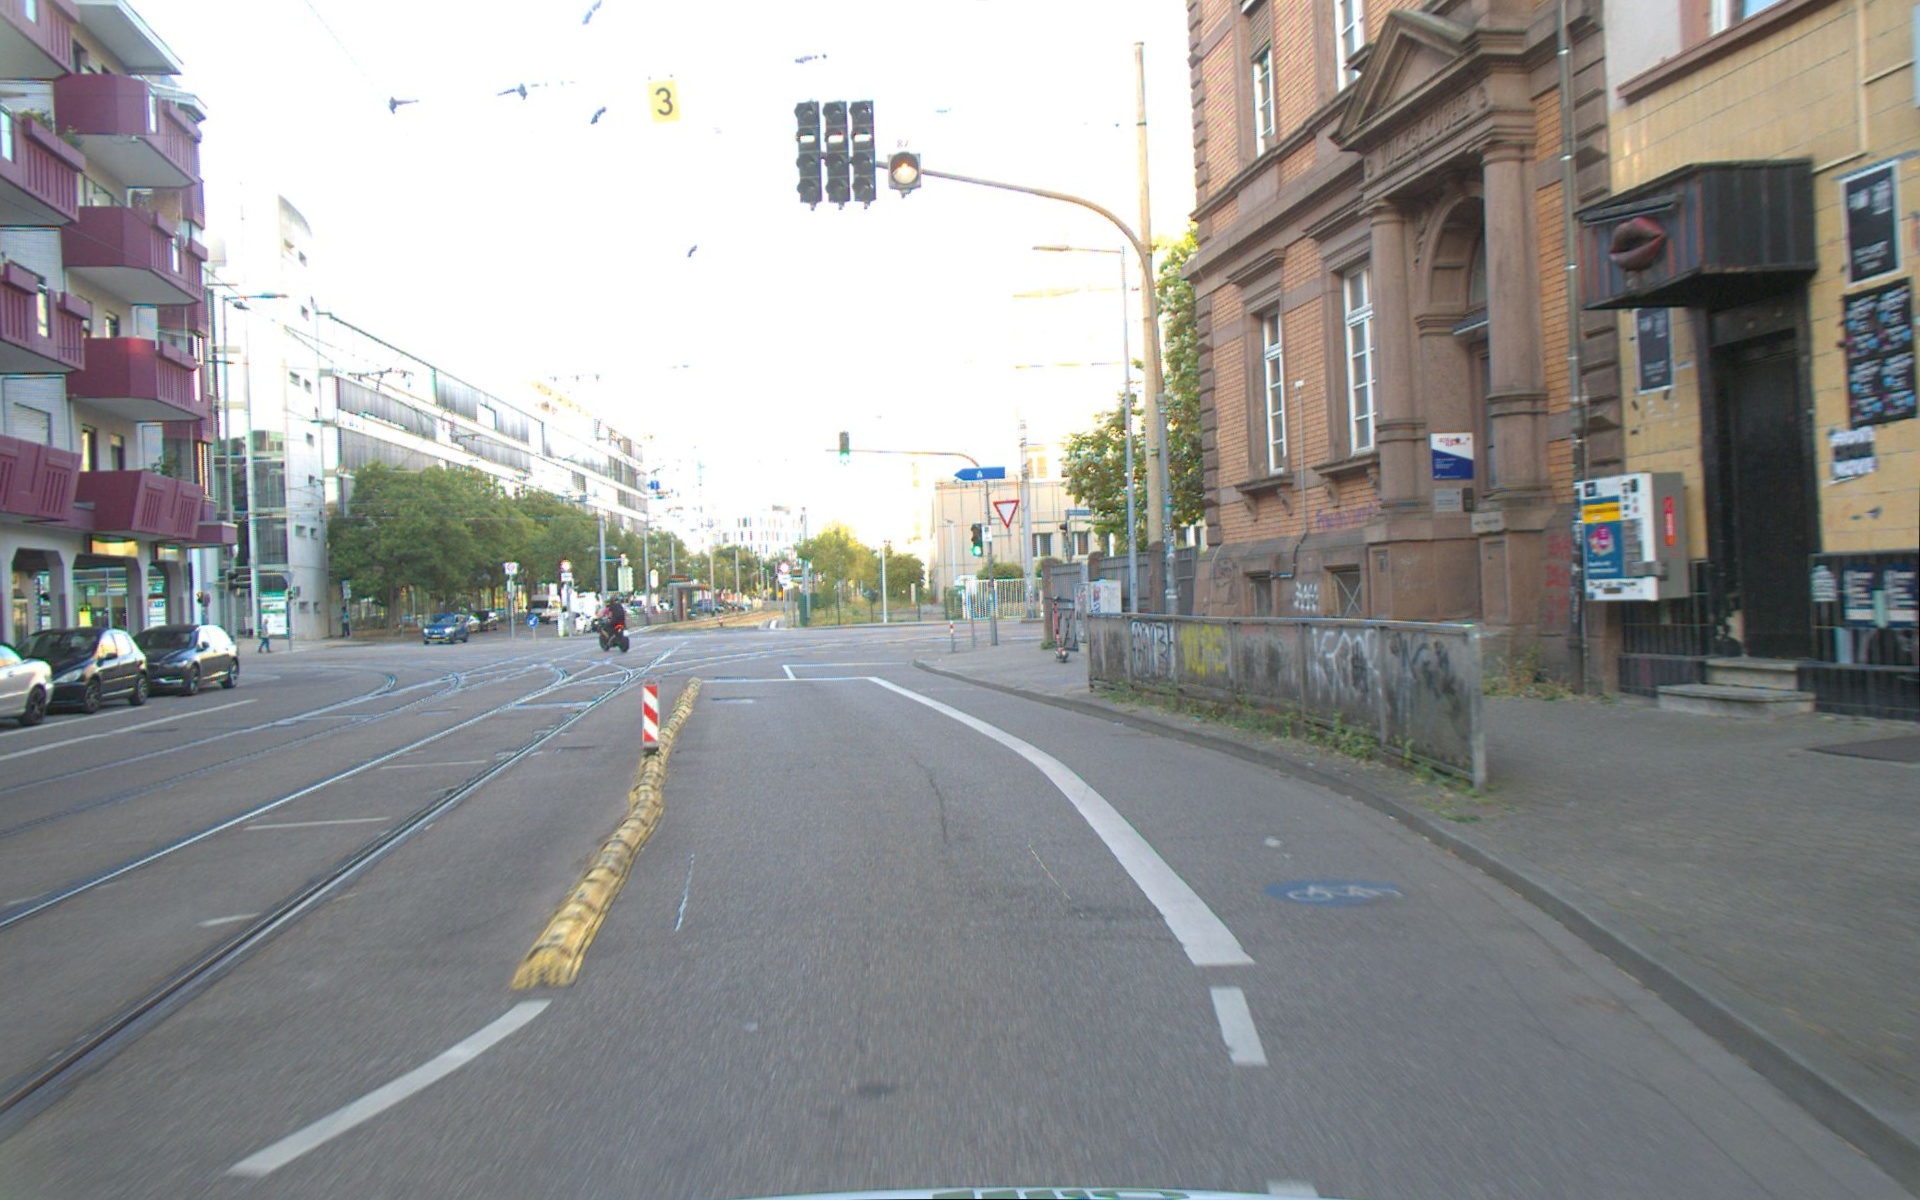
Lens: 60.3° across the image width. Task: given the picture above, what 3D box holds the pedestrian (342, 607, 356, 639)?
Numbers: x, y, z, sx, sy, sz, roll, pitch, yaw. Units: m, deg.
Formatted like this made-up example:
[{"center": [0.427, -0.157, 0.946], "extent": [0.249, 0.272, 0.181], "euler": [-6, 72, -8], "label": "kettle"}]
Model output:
[{"center": [-37.808, 1.437, 102.393], "extent": [0.650, 1.955, 0.546], "euler": [-3, 0, -14], "label": "pedestrian"}]

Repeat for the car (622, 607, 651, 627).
[{"center": [-25.851, 1.336, 132.264], "extent": [1.649, 1.464, 4.124], "euler": [-3, 0, -3], "label": "car"}]

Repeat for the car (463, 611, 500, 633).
[{"center": [-36.466, 1.675, 126.057], "extent": [1.649, 1.528, 4.237], "euler": [-3, 0, -2], "label": "car"}]

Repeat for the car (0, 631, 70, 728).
[{"center": [-15.395, 1.225, 25.186], "extent": [1.659, 1.438, 4.669], "euler": [-1, 0, -7], "label": "car"}]

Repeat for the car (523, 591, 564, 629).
[{"center": [-37.269, 0.859, 148.164], "extent": [2.157, 3.206, 6.140], "euler": [-2, 0, -2], "label": "car"}]

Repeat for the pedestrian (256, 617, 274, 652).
[{"center": [-35.639, 1.785, 84.843], "extent": [0.535, 1.741, 0.660], "euler": [-2, 0, 7], "label": "pedestrian"}]

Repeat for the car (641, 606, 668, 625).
[{"center": [-25.957, 1.310, 140.662], "extent": [1.649, 1.464, 4.124], "euler": [-3, 0, -3], "label": "car"}]

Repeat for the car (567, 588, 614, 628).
[{"center": [-25.163, 0.537, 112.849], "extent": [2.414, 2.525, 5.800], "euler": [-3, 0, -6], "label": "car"}]

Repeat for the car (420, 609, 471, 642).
[{"center": [-29.884, 1.472, 96.156], "extent": [1.648, 1.729, 4.238], "euler": [-2, 0, -1], "label": "car"}]

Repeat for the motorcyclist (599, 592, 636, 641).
[{"center": [-10.779, 0.527, 52.077], "extent": [0.818, 1.499, 1.196], "euler": [-2, 0, -27], "label": "motorcyclist"}]

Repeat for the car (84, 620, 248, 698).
[{"center": [-17.365, 1.230, 36.437], "extent": [1.818, 1.482, 5.075], "euler": [-2, 0, -9], "label": "car"}]

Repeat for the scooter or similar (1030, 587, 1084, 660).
[{"center": [1.808, 0.424, 31.047], "extent": [0.630, 1.288, 1.579], "euler": [-4, 0, -9], "label": "scooter or similar"}]

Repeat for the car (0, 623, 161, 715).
[{"center": [-16.542, 1.228, 30.885], "extent": [1.755, 1.535, 4.191], "euler": [-1, 0, -9], "label": "car"}]

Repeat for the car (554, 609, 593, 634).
[{"center": [-24.988, 1.378, 107.106], "extent": [1.649, 1.464, 4.124], "euler": [-3, 0, -3], "label": "car"}]

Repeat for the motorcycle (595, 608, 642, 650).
[{"center": [-10.782, 0.901, 52.139], "extent": [0.818, 1.261, 2.469], "euler": [-2, 0, -26], "label": "motorcycle"}]
